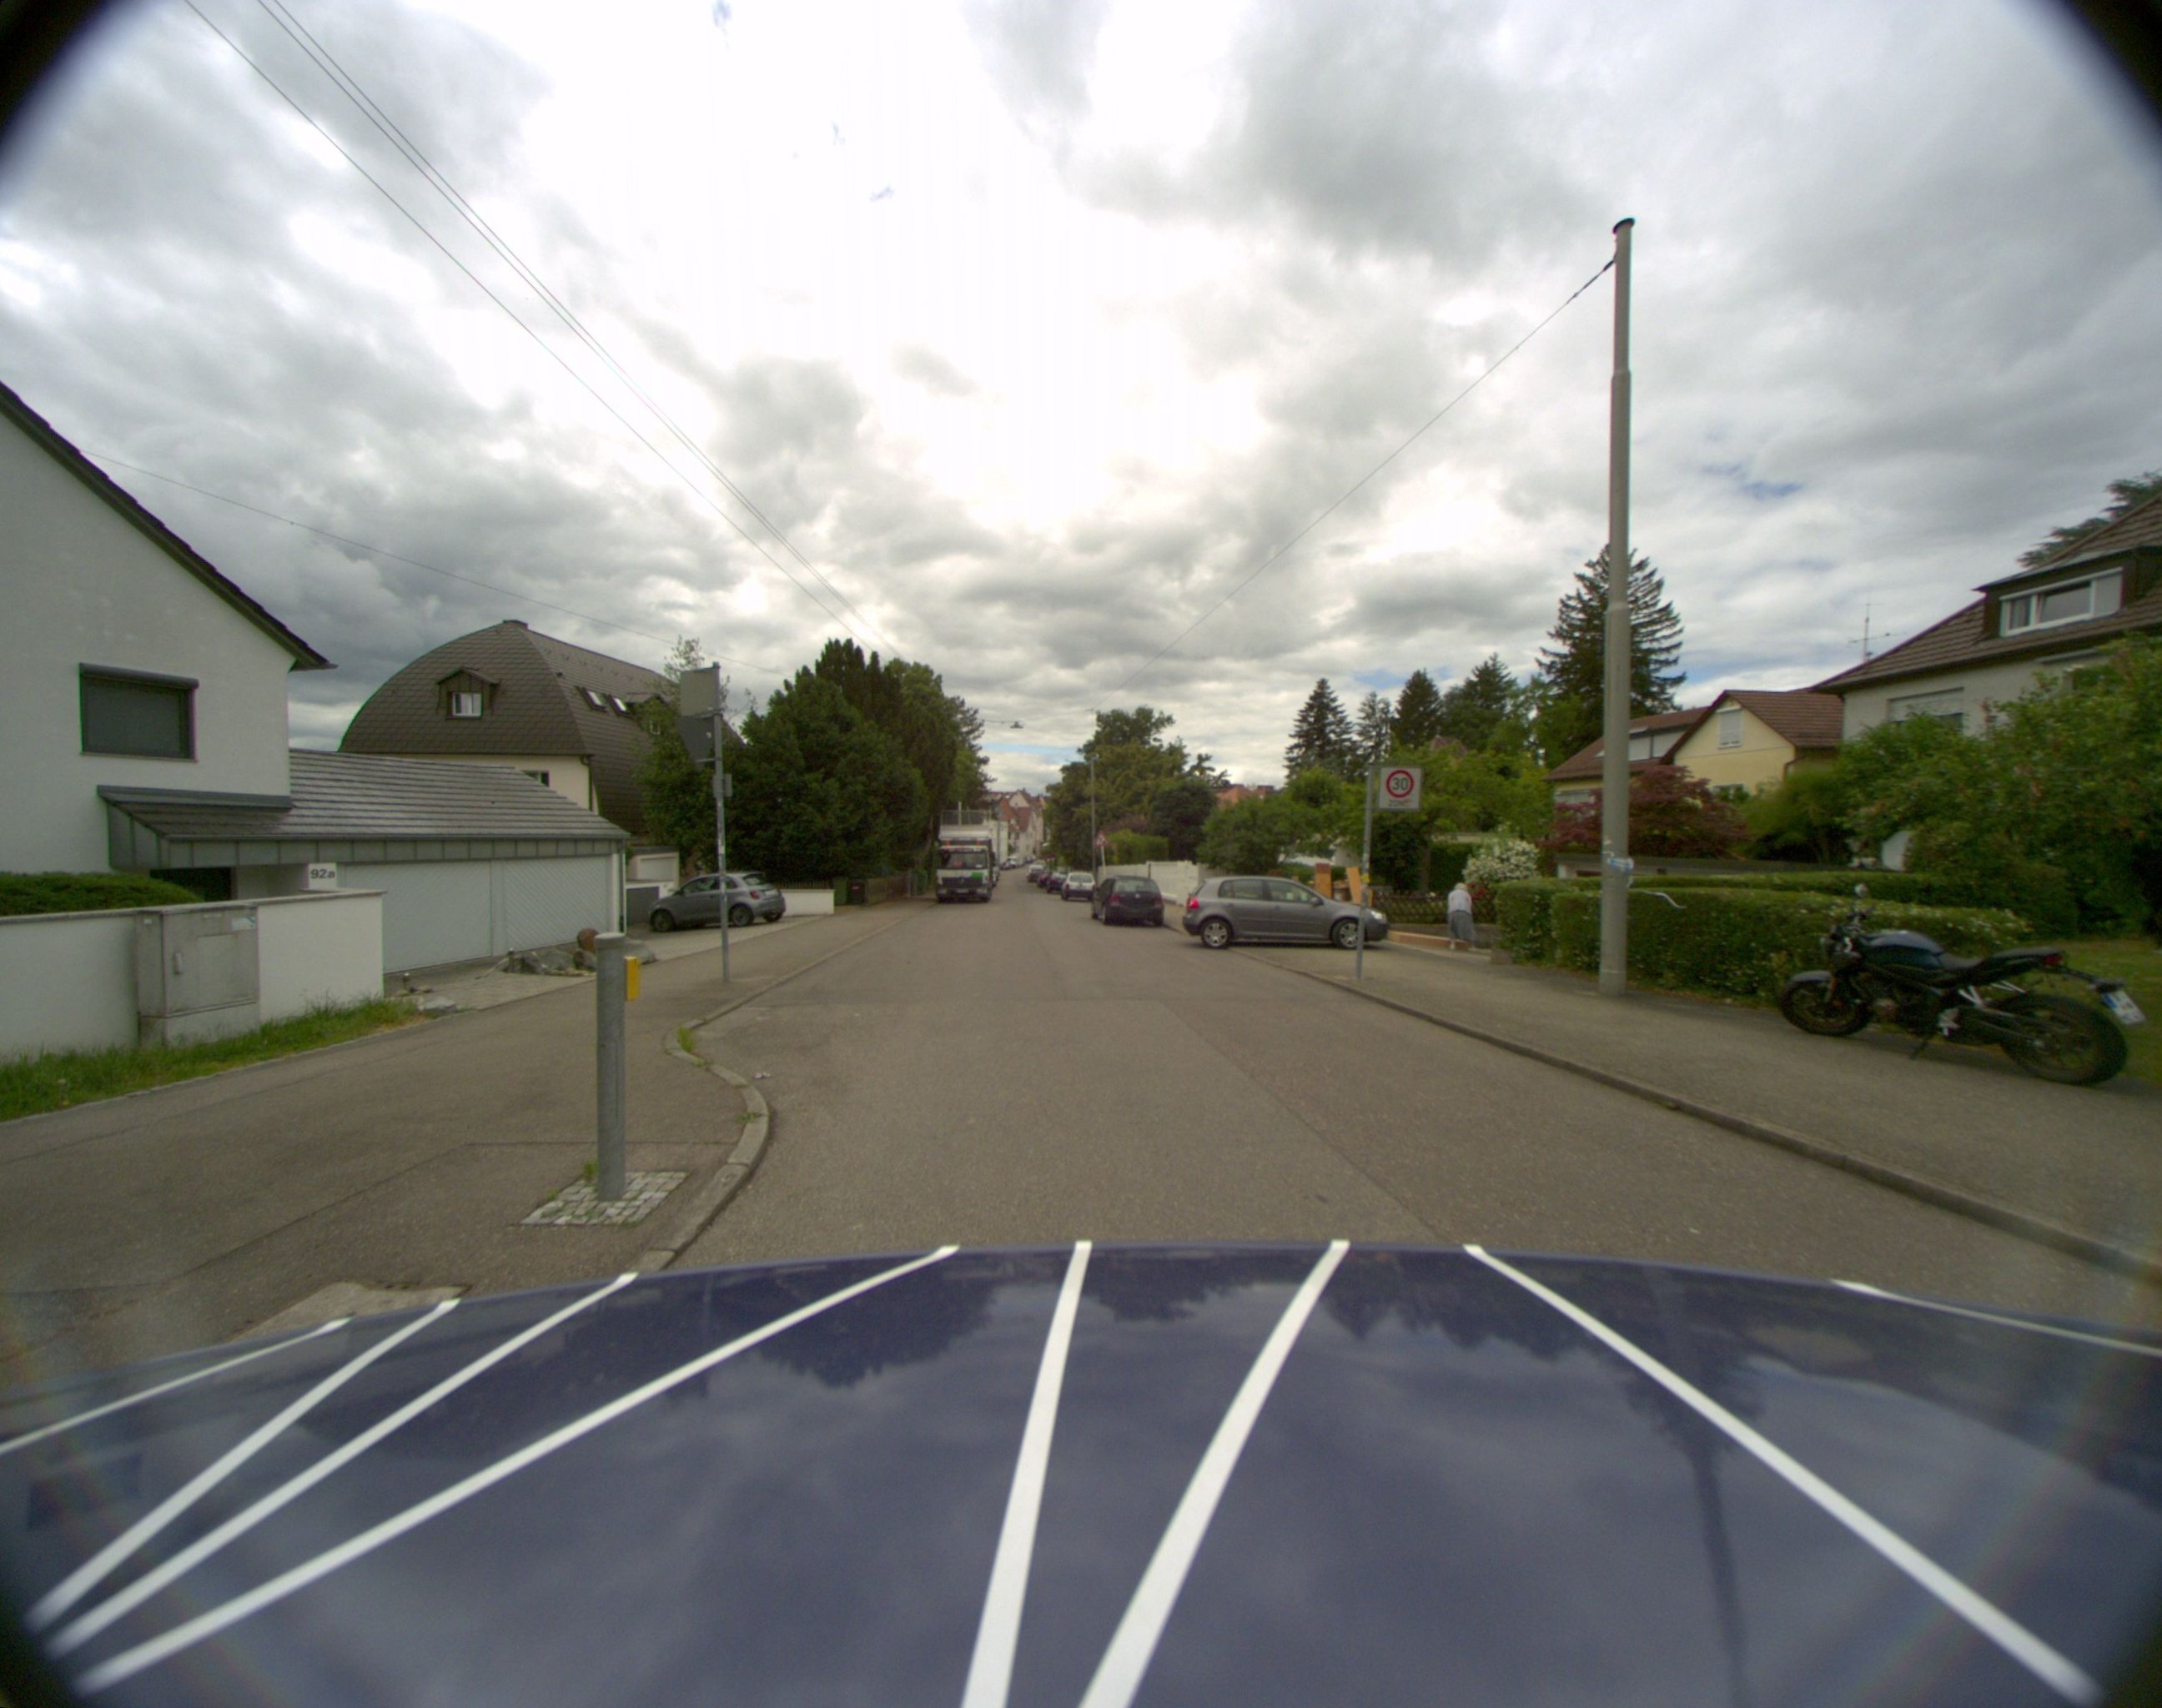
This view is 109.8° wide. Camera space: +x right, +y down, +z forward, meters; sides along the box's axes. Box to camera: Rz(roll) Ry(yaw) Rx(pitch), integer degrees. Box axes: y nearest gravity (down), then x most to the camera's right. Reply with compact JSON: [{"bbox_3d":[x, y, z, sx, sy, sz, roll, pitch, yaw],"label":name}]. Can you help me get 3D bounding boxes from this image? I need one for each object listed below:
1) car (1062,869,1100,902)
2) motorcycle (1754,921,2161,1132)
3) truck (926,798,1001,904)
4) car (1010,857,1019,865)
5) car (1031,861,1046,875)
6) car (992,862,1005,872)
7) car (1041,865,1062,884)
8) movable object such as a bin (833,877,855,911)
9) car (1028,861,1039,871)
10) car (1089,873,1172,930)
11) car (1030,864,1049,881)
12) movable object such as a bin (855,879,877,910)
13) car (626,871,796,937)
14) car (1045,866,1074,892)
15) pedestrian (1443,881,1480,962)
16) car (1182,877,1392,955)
[{"bbox_3d":[-0.041,1.557,38.471,1.621,1.460,3.311,3,0,-5],"label":"car"},{"bbox_3d":[6.577,1.155,5.781,0.775,1.133,2.144,1,-1,-12],"label":"motorcycle"},{"bbox_3d":[-5.535,-0.074,36.656,3.155,4.524,7.948,1,0,-7],"label":"truck"},{"bbox_3d":[-13.119,1.320,149.880,1.876,1.543,3.823,0,0,-5],"label":"car"},{"bbox_3d":[-5.131,1.666,91.538,1.621,1.460,3.311,3,0,-5],"label":"car"},{"bbox_3d":[-12.956,2.021,119.760,1.876,1.543,3.823,0,0,-5],"label":"car"},{"bbox_3d":[-2.434,1.688,62.652,1.539,1.459,3.312,3,-2,-5],"label":"car"},{"bbox_3d":[-8.746,1.461,28.058,0.600,1.200,0.951,-3,-2,-8],"label":"movable object such as a bin"},{"bbox_3d":[-6.957,1.725,111.179,1.425,1.277,3.311,3,0,-5],"label":"car"},{"bbox_3d":[1.375,1.358,22.614,1.759,1.435,3.800,2,-1,-6],"label":"car"},{"bbox_3d":[-4.665,2.060,84.989,1.888,1.746,3.700,0,0,-8],"label":"car"},{"bbox_3d":[-7.990,1.511,28.259,0.600,1.098,0.951,-3,-2,-8],"label":"movable object such as a bin"},{"bbox_3d":[-10.209,1.356,21.083,3.853,1.488,1.693,-4,0,8],"label":"car"},{"bbox_3d":[-1.403,1.589,48.802,1.621,1.460,3.311,3,0,-5],"label":"car"},{"bbox_3d":[8.687,1.514,17.346,0.645,1.794,0.614,0,0,15],"label":"pedestrian"},{"bbox_3d":[4.211,1.239,15.876,3.993,1.453,1.740,-1,0,13],"label":"car"}]
